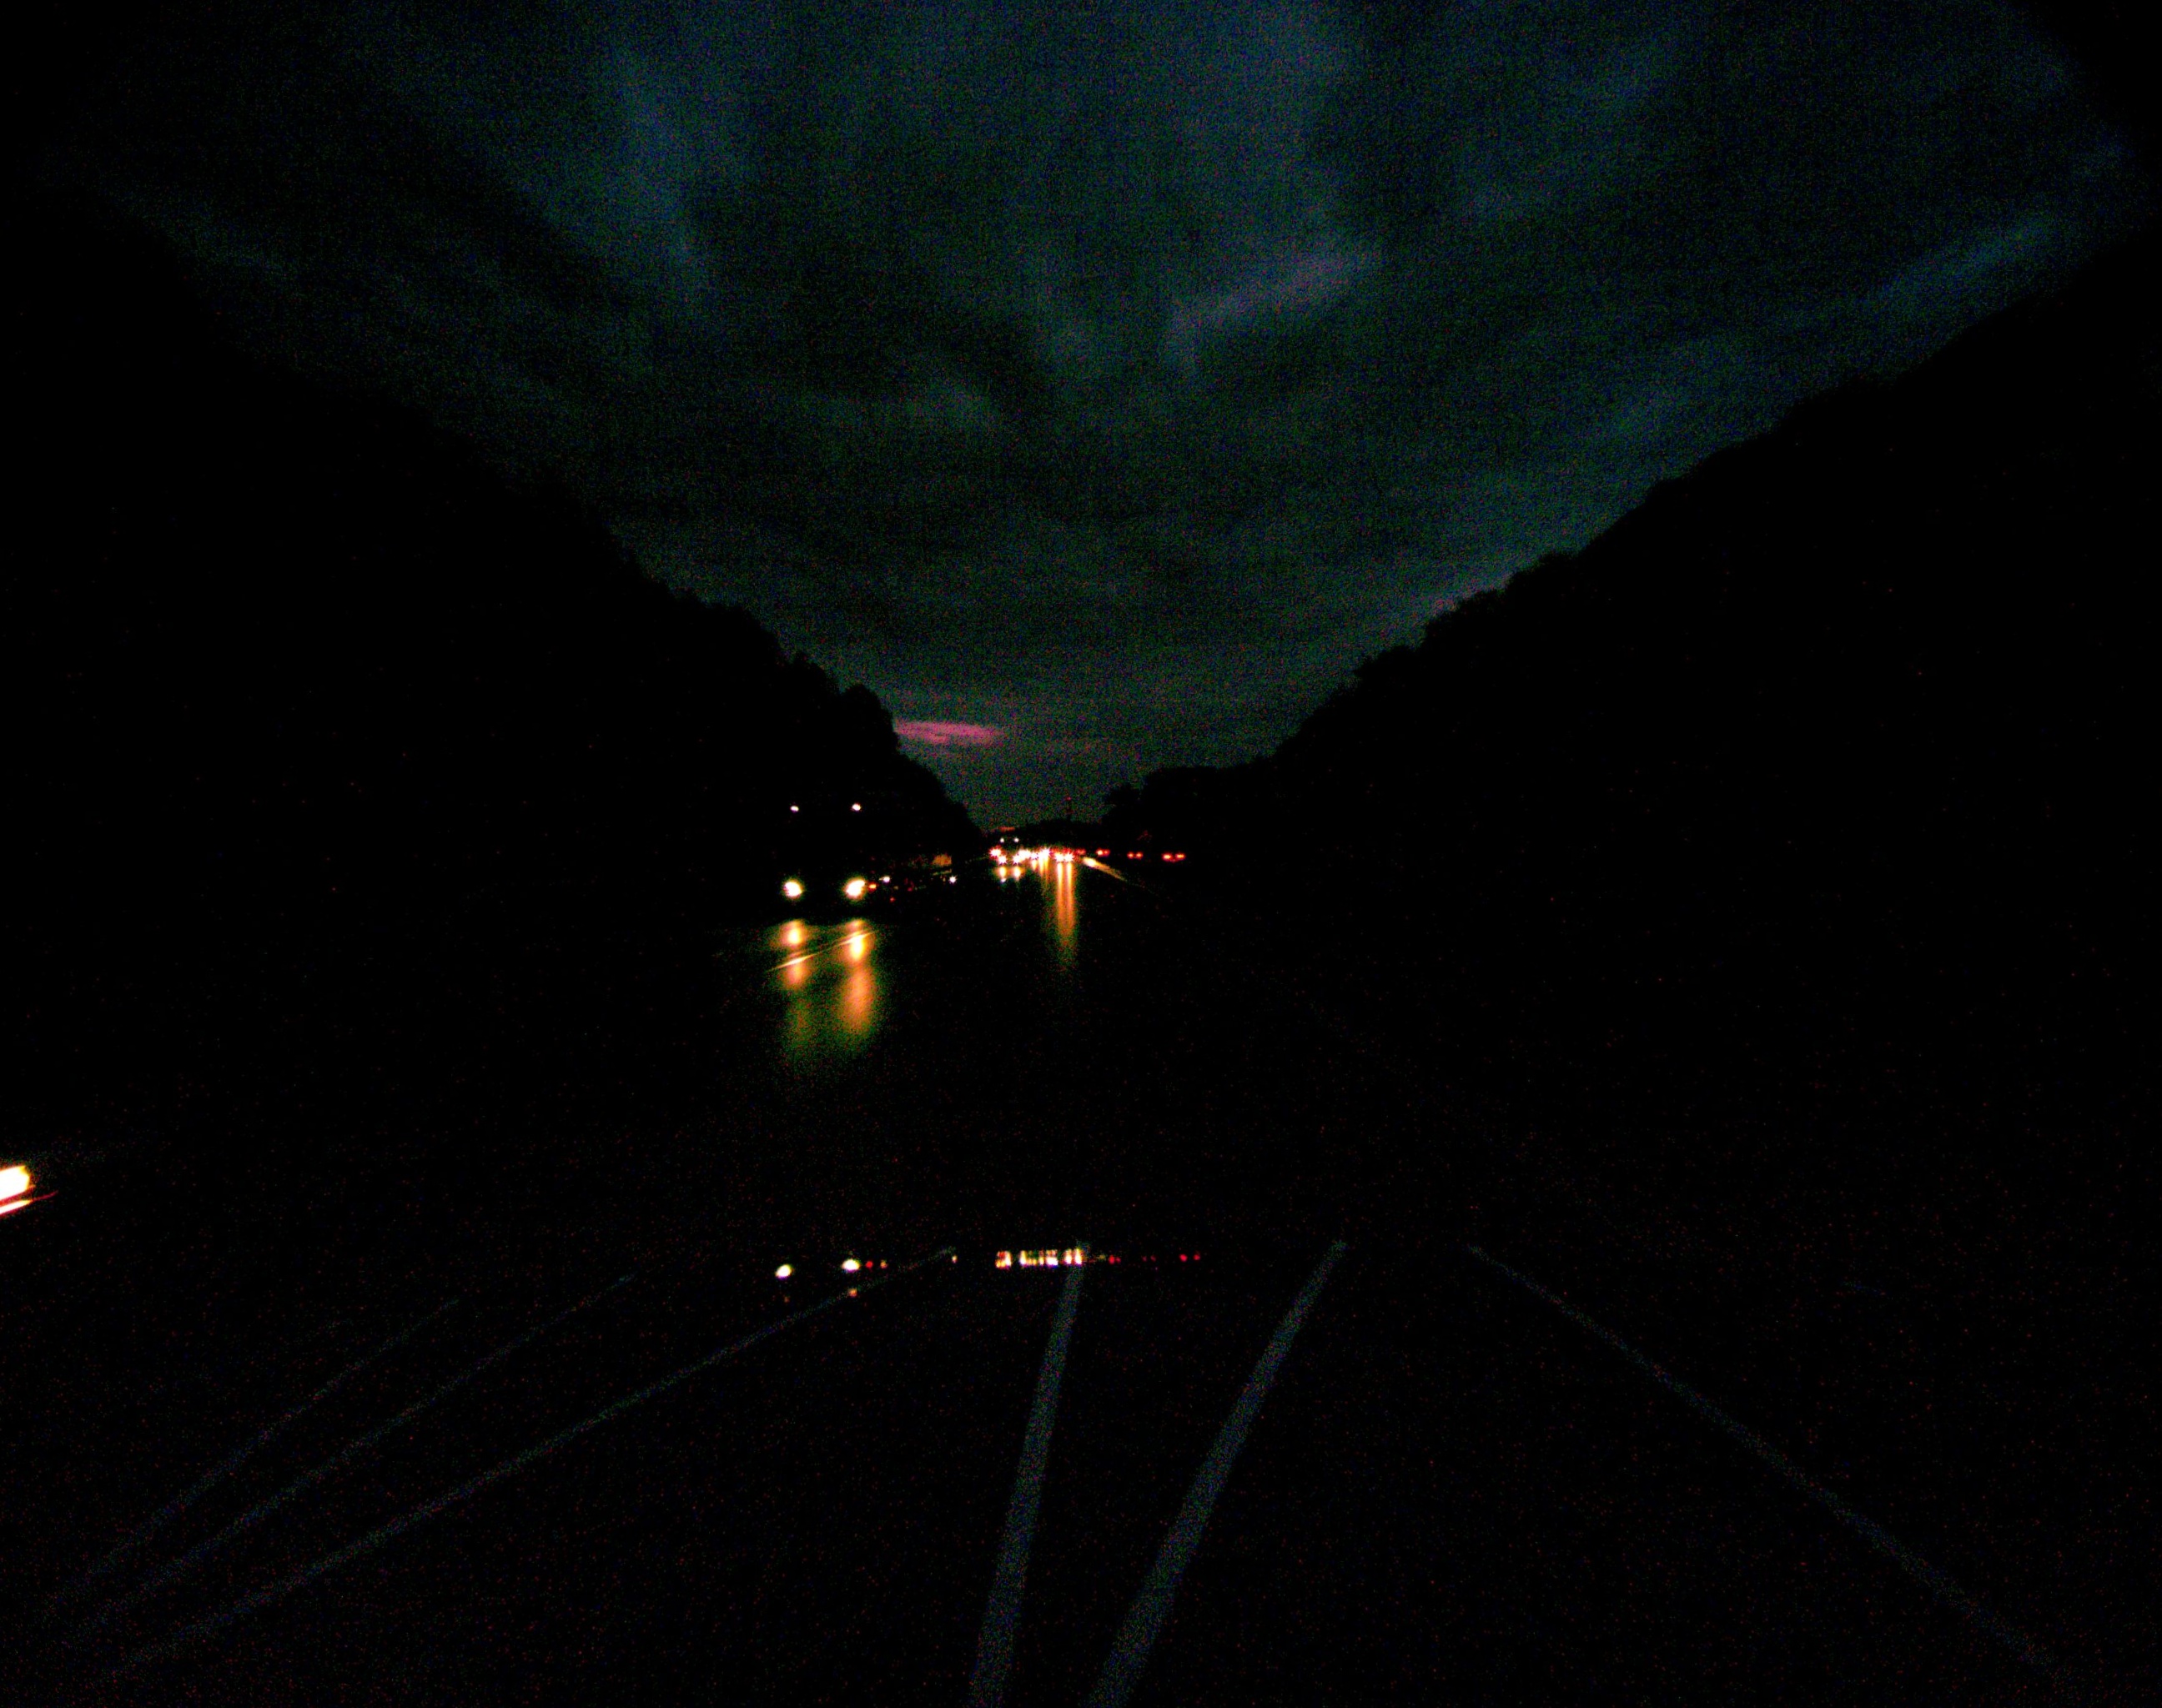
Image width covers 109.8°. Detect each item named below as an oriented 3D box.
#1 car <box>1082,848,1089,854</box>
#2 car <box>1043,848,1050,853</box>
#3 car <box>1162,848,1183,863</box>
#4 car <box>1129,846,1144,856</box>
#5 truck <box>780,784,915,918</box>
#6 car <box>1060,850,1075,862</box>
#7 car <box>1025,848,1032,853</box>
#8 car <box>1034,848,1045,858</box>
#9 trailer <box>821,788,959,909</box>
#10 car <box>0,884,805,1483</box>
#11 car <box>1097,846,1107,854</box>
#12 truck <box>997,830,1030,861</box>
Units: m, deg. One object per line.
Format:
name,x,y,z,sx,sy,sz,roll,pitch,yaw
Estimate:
car,1.308,-0.899,218.810,1.824,1.548,4.334,-1,0,-3
car,-9.562,-0.945,211.682,1.696,1.481,4.948,0,0,-1
car,9.796,0.134,81.366,1.601,1.480,4.230,-2,0,-1
car,8.606,-0.456,118.058,1.824,1.470,4.370,-2,0,-2
truck,-7.574,-0.118,25.436,2.497,3.945,5.590,-1,1,2
car,-1.954,0.235,113.679,1.869,1.700,4.585,-2,0,3
car,-17.298,-1.179,252.004,1.999,1.641,3.999,-2,1,-1
car,-7.735,-0.177,141.493,1.923,1.706,4.942,-2,0,-1
trailer,-7.555,-0.266,32.519,2.489,4.049,13.502,-1,1,0
car,-3.482,1.073,4.669,1.696,1.481,4.948,-2,1,0
car,5.088,-0.919,183.383,1.924,1.706,5.283,-2,0,-4
truck,-9.241,-1.193,105.258,3.341,3.945,13.534,-1,1,0
